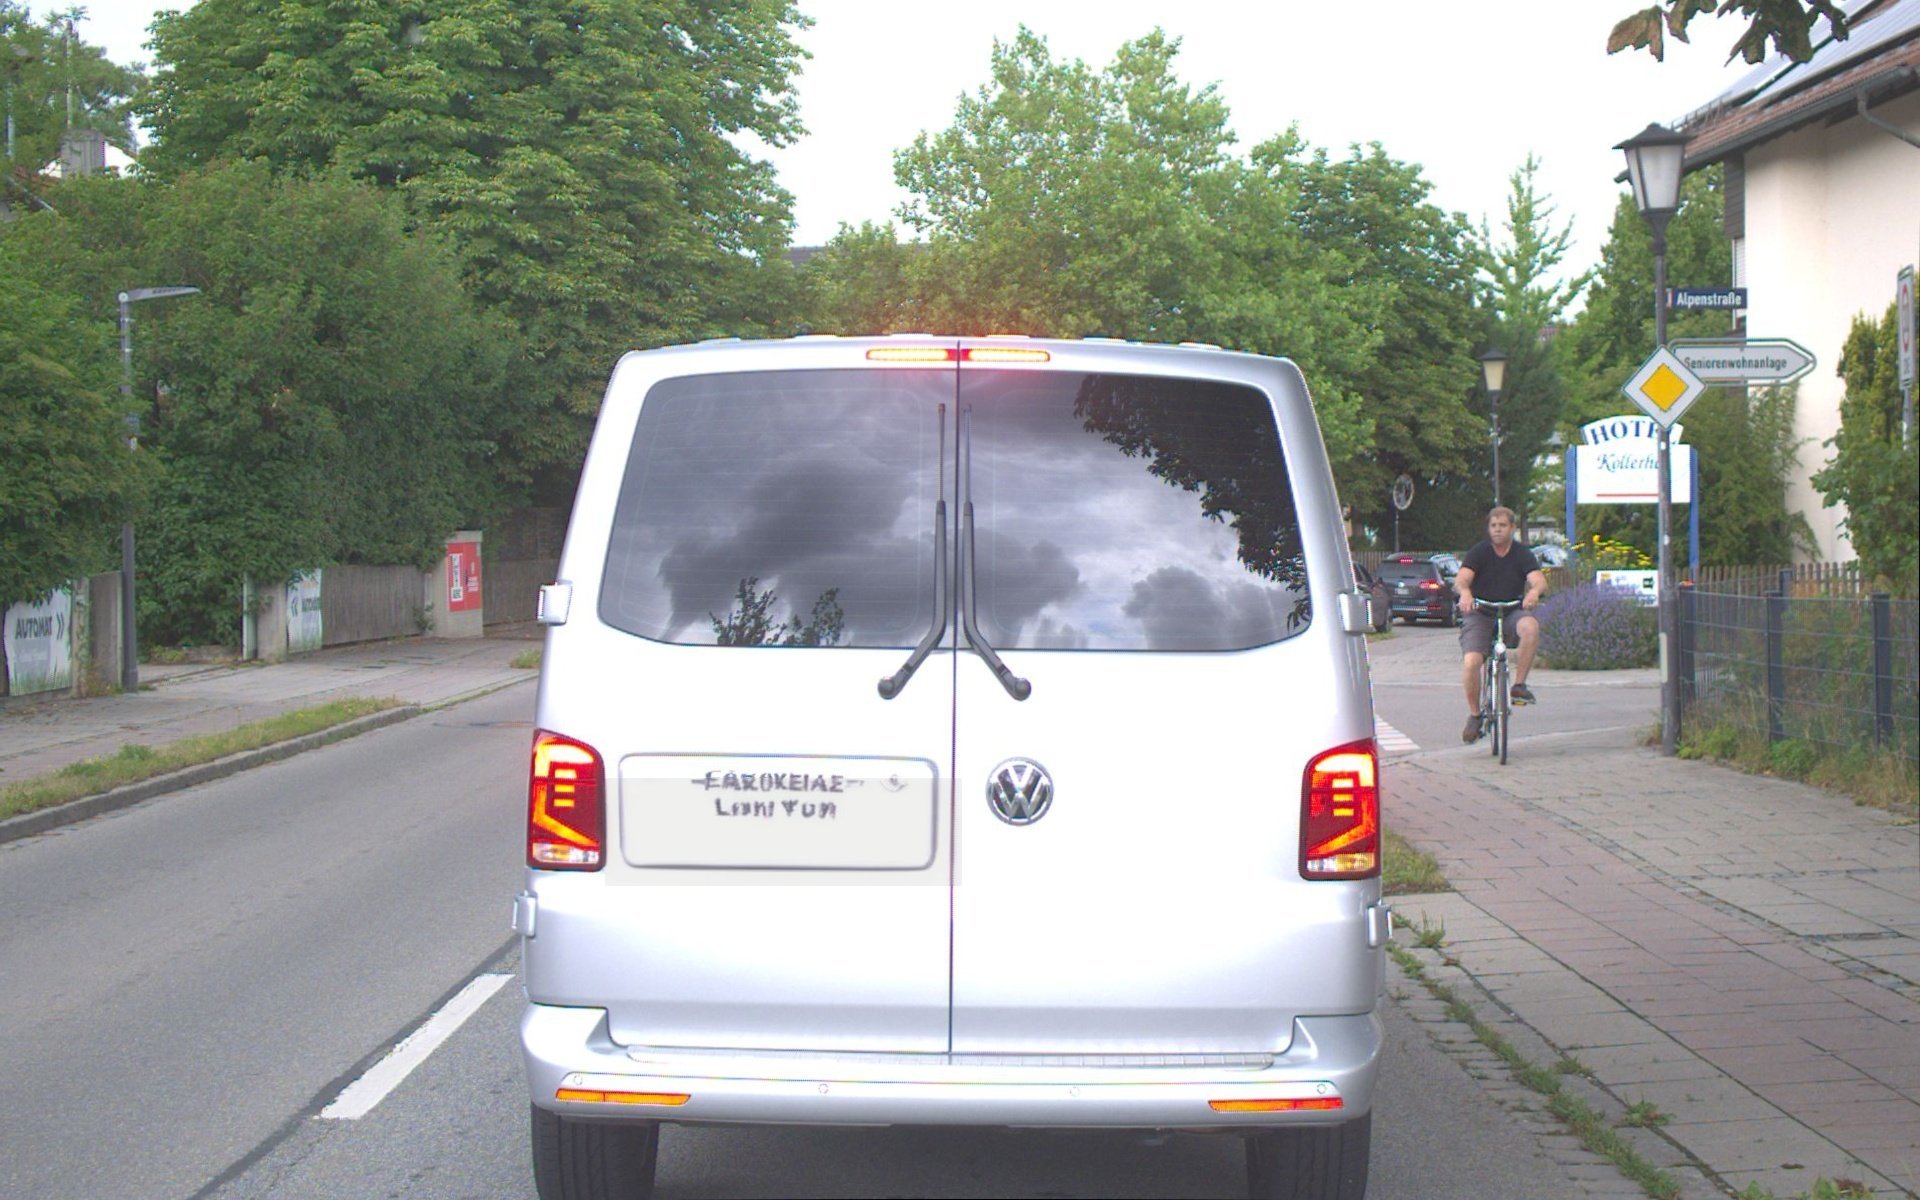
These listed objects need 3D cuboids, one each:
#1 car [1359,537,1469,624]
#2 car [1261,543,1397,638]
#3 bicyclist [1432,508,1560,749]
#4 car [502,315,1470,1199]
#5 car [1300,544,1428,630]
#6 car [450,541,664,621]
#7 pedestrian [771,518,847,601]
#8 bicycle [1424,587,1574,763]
[{"bbox_3d":[9.332,-0.420,70.432,1.882,1.742,4.078,0,1,12],"label":"car"},{"bbox_3d":[6.215,-0.193,57.551,1.882,1.530,3.919,0,1,12],"label":"car"},{"bbox_3d":[3.700,0.187,23.779,0.736,1.627,0.890,-1,1,1],"label":"bicyclist"},{"bbox_3d":[0.070,0.384,8.671,1.881,1.934,3.921,0,1,1],"label":"car"},{"bbox_3d":[7.492,-0.265,63.511,1.882,1.530,3.918,0,1,14],"label":"car"},{"bbox_3d":[-7.674,-0.370,65.369,3.986,1.481,2.001,0,1,-8],"label":"car"},{"bbox_3d":[-3.332,-0.899,75.947,1.319,1.796,1.068,-1,1,-45],"label":"pedestrian"},{"bbox_3d":[3.720,0.497,23.855,0.764,1.139,1.845,-1,1,1],"label":"bicycle"}]
